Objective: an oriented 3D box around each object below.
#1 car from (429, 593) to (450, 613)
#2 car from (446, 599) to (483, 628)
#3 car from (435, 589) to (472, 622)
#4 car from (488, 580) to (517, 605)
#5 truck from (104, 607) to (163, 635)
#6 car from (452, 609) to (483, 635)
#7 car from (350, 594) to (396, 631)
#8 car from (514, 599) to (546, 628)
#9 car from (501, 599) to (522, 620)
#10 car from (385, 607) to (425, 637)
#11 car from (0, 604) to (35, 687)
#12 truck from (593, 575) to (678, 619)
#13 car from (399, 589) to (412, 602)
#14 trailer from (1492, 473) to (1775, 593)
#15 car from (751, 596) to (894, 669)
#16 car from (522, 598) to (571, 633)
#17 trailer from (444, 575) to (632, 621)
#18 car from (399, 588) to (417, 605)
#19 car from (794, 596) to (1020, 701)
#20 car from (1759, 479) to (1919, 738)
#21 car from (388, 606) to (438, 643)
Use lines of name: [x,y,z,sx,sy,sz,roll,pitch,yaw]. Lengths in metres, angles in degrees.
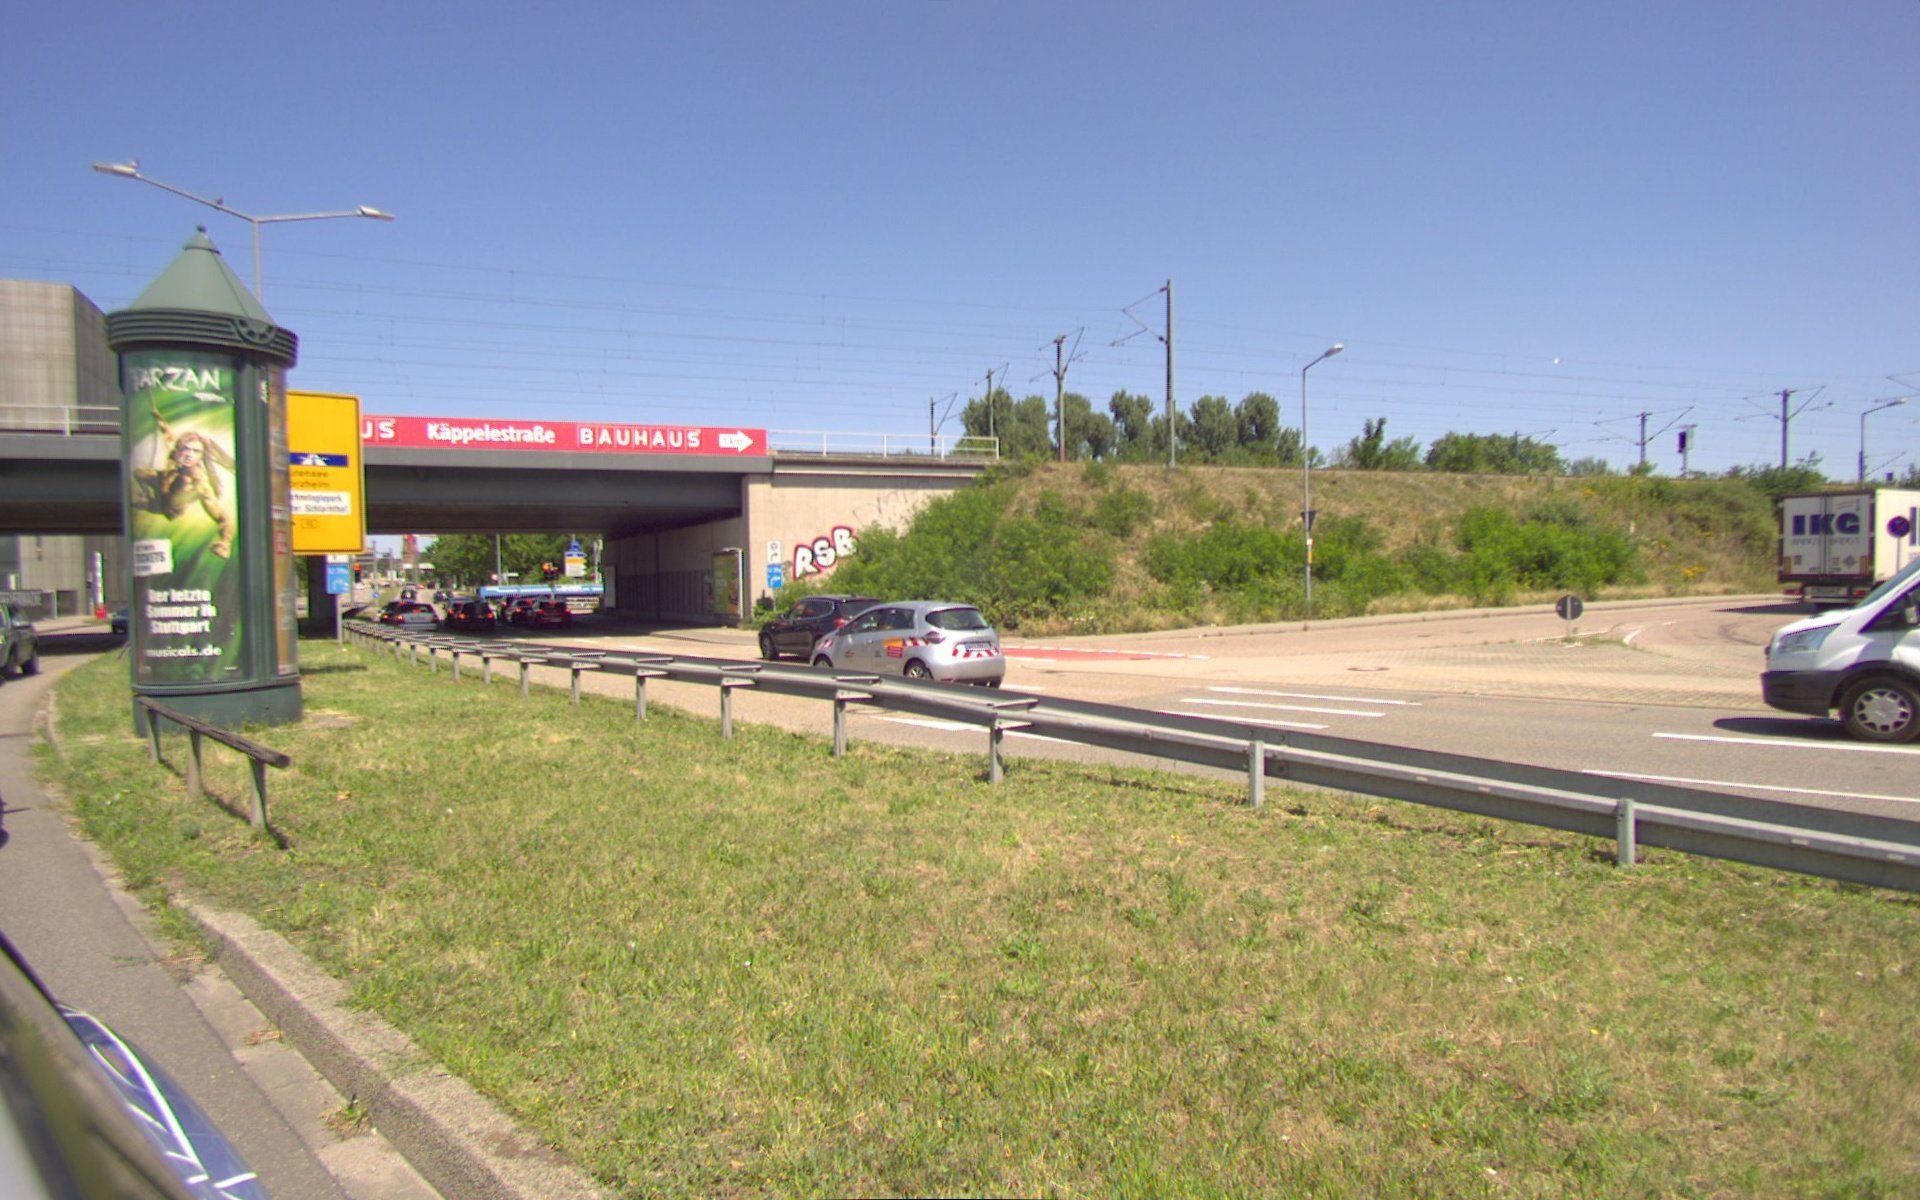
car: [-55.926,0.310,108.731,1.809,2.029,4.012,-1,0,-30]
car: [-26.907,0.697,55.026,1.592,1.487,3.444,-1,0,-23]
car: [-30.437,0.331,60.762,1.875,1.874,4.013,-1,0,-27]
car: [-39.272,-0.643,86.823,1.966,2.029,4.013,-1,0,-29]
truck: [-47.590,1.176,58.368,1.702,1.513,4.013,-1,0,-25]
car: [-24.281,1.055,49.938,1.250,1.194,2.787,-1,0,-23]
car: [-30.935,0.639,53.411,1.875,1.874,4.013,-1,0,-27]
car: [-23.827,0.706,56.017,1.548,1.514,3.418,-1,0,-23]
car: [-27.323,0.573,61.689,1.166,1.257,2.701,-1,0,-23]
car: [-26.119,1.018,47.683,1.388,1.329,3.272,-1,0,-24]
car: [-21.472,0.961,21.847,1.817,1.708,3.708,-1,0,-37]
truck: [-26.771,-0.258,83.552,6.452,3.443,3.033,-1,0,-22]
car: [-94.014,-0.767,171.547,1.966,2.029,4.013,-1,0,-29]
trailer: [26.377,-2.483,39.368,12.484,4.081,3.031,-1,-1,-25]
car: [-3.533,0.770,25.358,1.469,1.645,4.482,-1,0,-38]
car: [-20.899,0.750,51.094,1.747,1.680,4.027,-1,0,-30]
trailer: [-33.555,-0.231,81.213,13.656,3.398,2.974,-1,0,-17]
car: [-67.692,-0.442,124.181,1.809,2.029,4.012,-1,0,-30]
car: [-1.017,0.777,17.378,1.615,1.579,4.076,0,-1,-43]
car: [11.323,0.018,9.510,5.807,2.519,2.072,-3,-2,41]
car: [-22.329,0.979,41.247,1.611,1.413,4.234,0,-1,-31]
